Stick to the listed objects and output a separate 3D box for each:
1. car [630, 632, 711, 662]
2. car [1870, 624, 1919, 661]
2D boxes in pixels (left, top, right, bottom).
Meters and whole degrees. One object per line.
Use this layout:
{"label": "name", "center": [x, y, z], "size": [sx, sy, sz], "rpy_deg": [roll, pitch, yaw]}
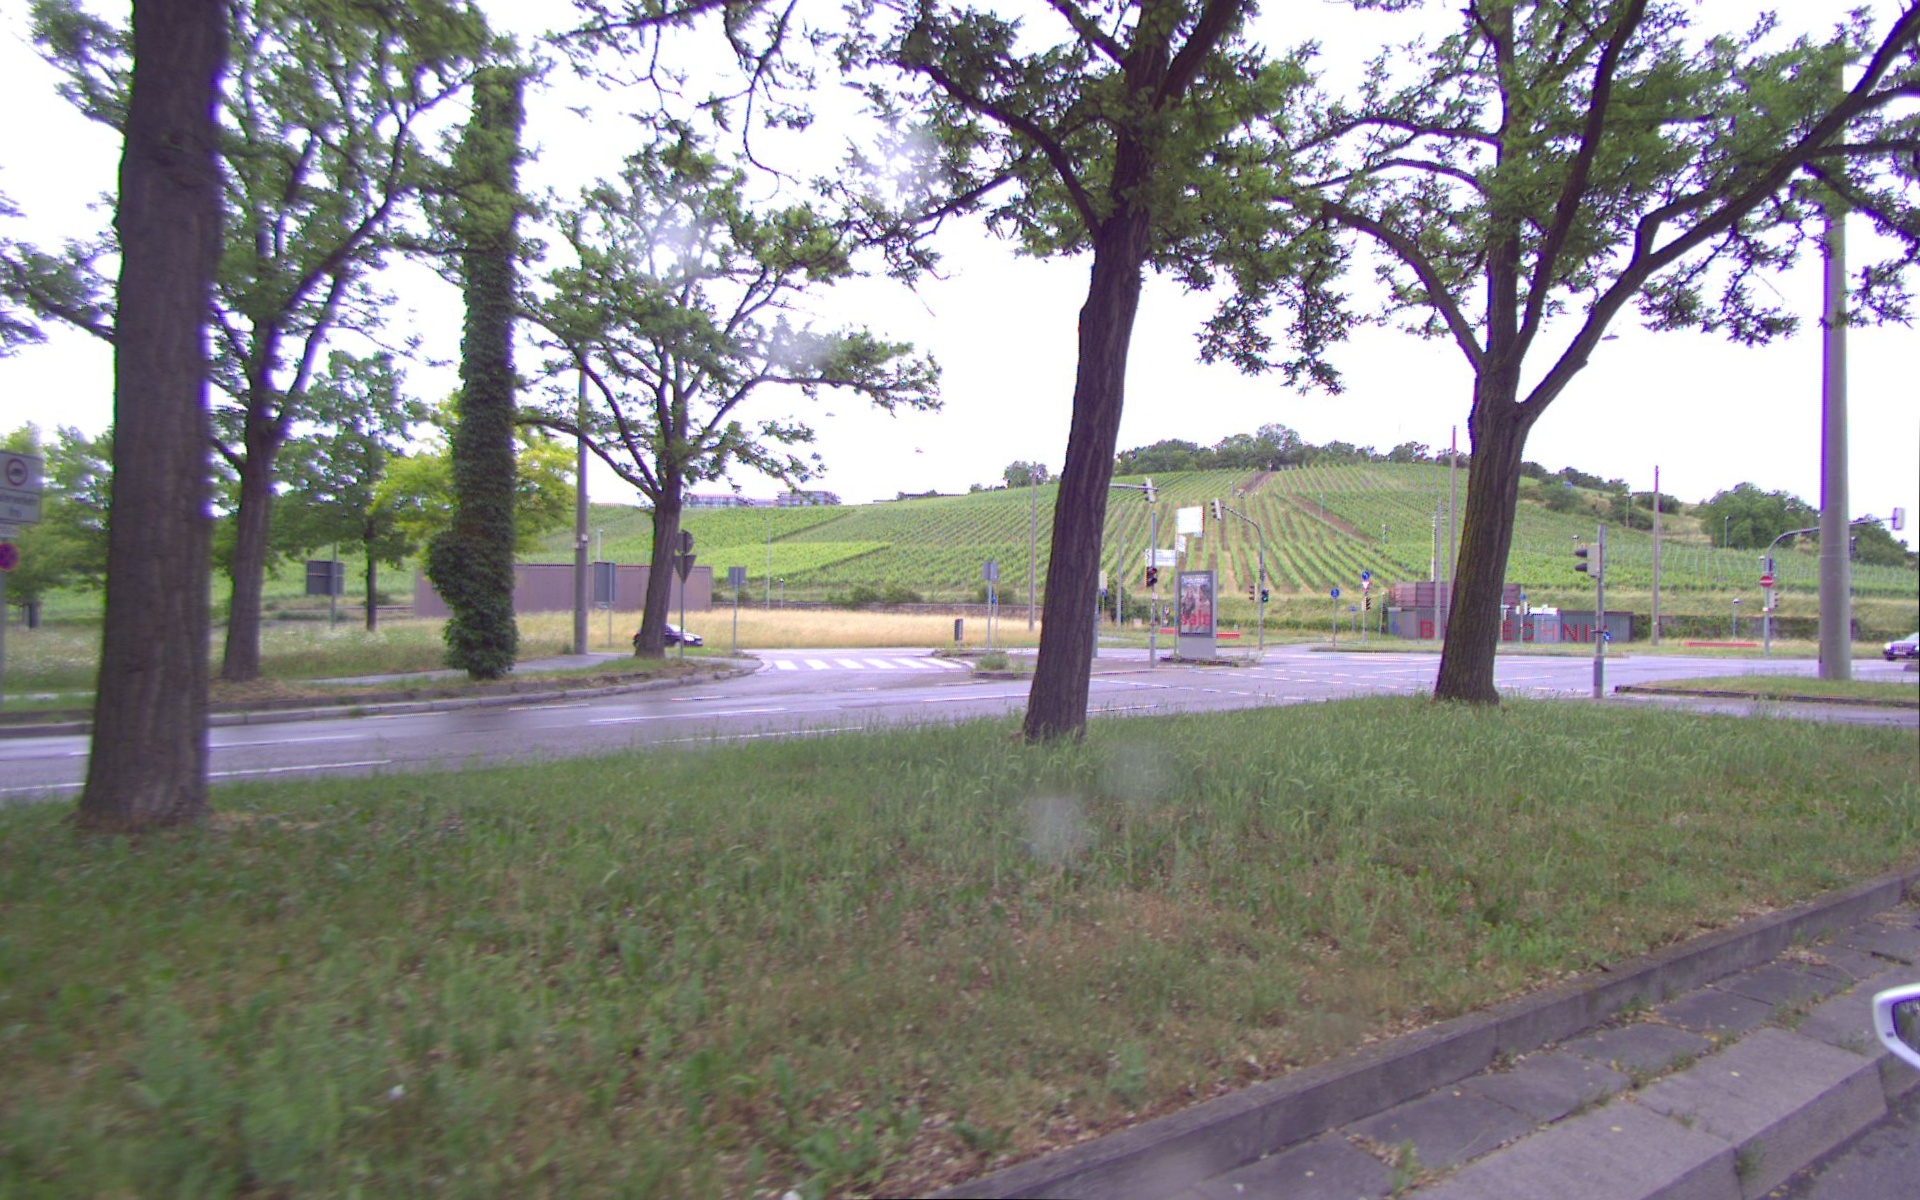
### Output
{"label": "car", "center": [-15.812, 2.541, 54.811], "size": [3.922, 1.307, 1.799], "rpy_deg": [2, 1, 21]}
{"label": "car", "center": [46.605, 2.071, 48.822], "size": [4.503, 1.645, 1.824], "rpy_deg": [2, 1, -25]}
